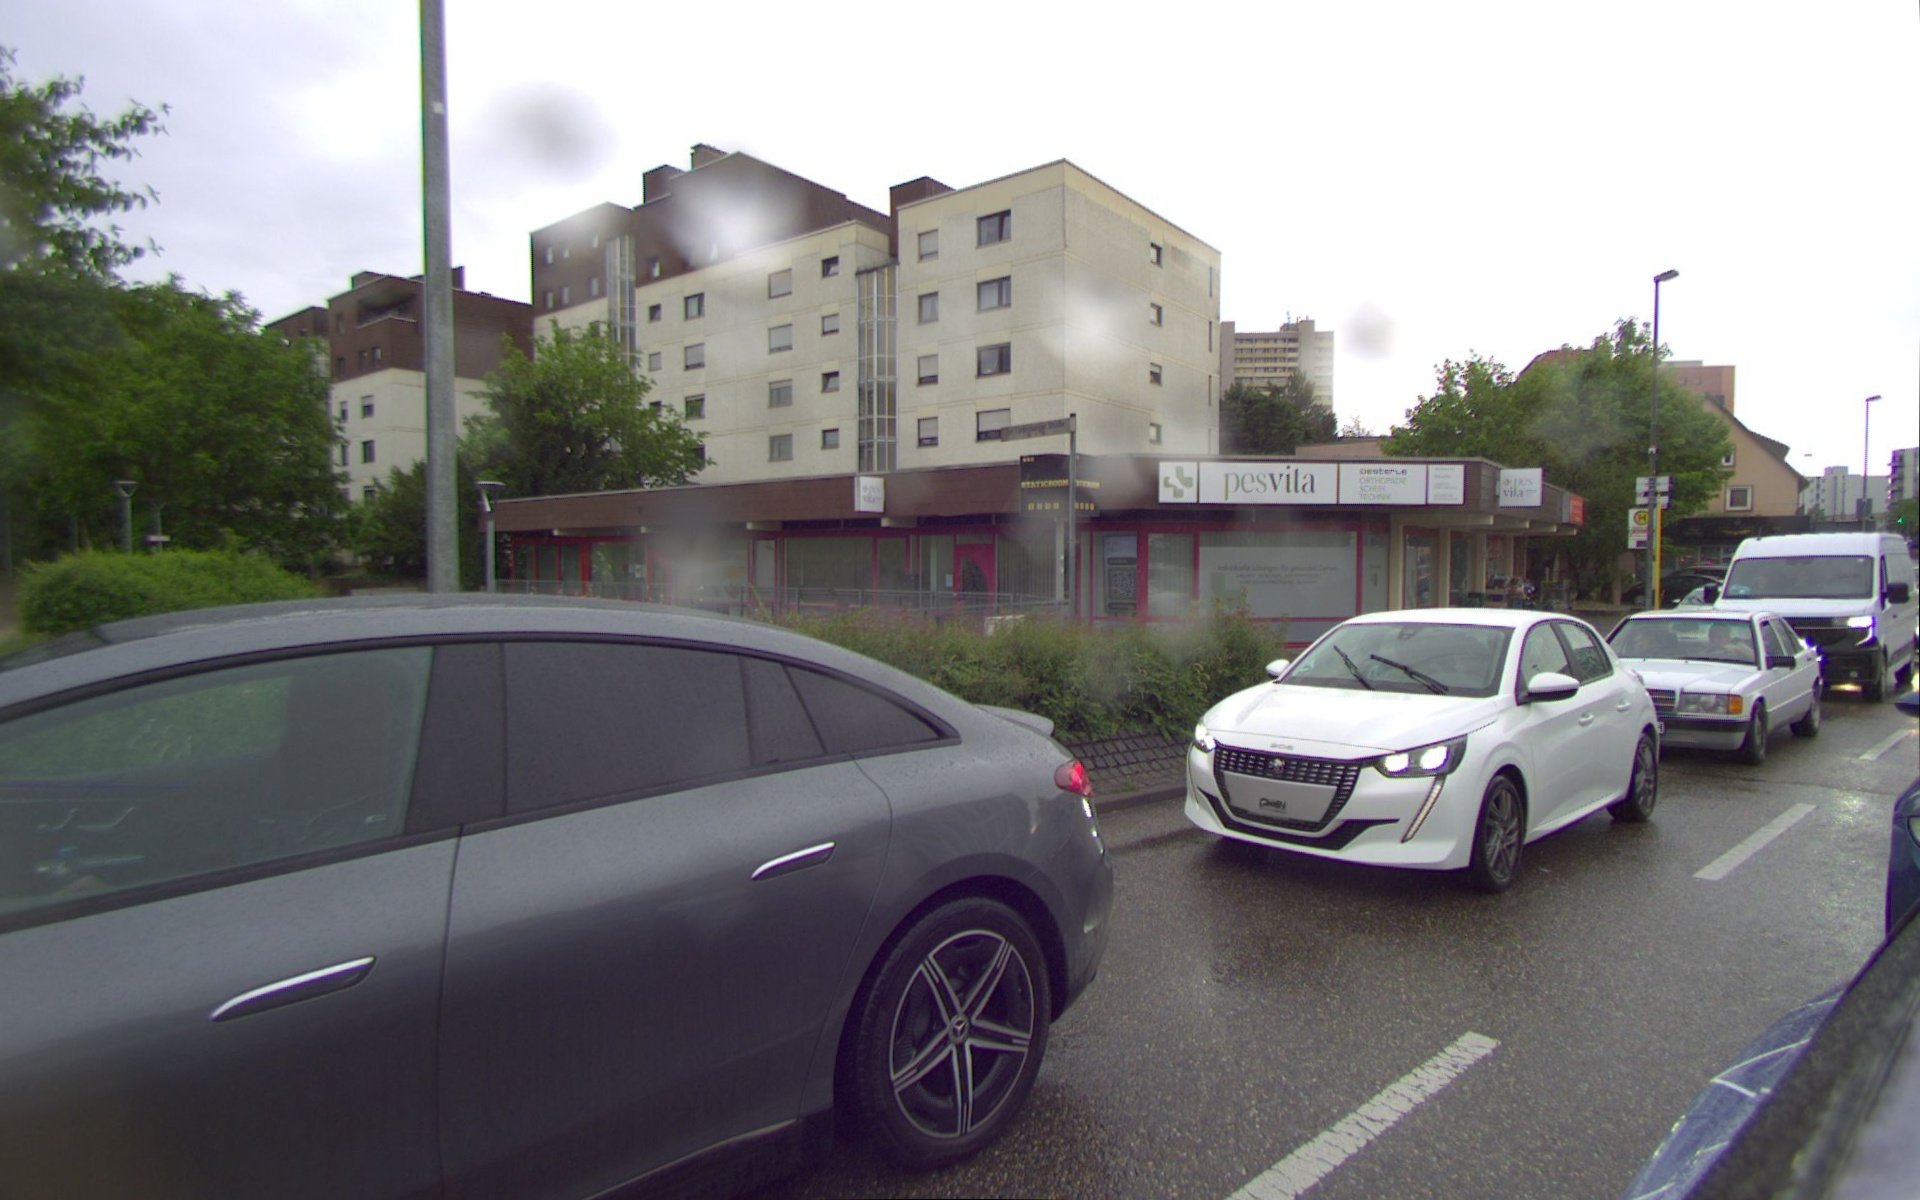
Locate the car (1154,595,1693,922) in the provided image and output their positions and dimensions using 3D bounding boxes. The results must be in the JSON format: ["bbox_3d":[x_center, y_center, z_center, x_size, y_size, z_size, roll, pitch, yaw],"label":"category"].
[{"bbox_3d":[3.180,0.709,6.541,4.043,1.433,1.665,-1,1,-41],"label":"car"}]

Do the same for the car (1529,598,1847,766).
[{"bbox_3d":[7.679,0.686,10.536,4.089,1.362,1.787,-1,1,-41],"label":"car"}]

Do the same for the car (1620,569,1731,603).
[{"bbox_3d":[32.043,-0.643,45.374,3.981,1.445,1.858,2,2,39],"label":"car"}]

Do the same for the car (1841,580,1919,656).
[{"bbox_3d":[21.096,0.338,22.444,3.930,1.558,1.802,-1,2,-41],"label":"car"}]

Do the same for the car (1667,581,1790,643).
[{"bbox_3d":[20.258,0.258,26.628,3.930,1.509,1.787,-1,1,-41],"label":"car"}]

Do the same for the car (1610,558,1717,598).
[{"bbox_3d":[33.032,-1.033,47.560,3.981,1.801,1.858,2,2,39],"label":"car"}]

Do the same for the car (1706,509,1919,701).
[{"bbox_3d":[14.007,-0.011,16.298,6.021,2.549,2.194,-2,2,-43],"label":"car"}]

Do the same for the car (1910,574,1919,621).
[{"bbox_3d":[34.767,-0.117,35.403,3.933,1.588,1.996,-2,1,-43],"label":"car"}]

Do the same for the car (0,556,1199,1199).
[{"bbox_3d":[-1.583,0.687,2.456,4.724,1.485,1.840,0,-1,-41],"label":"car"}]

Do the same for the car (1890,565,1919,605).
[{"bbox_3d":[50.161,-0.795,52.763,3.930,2.038,1.998,-1,3,-40],"label":"car"}]

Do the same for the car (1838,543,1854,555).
[{"bbox_3d":[139.514,-8.034,159.408,1.657,1.654,3.754,1,1,37],"label":"car"}]

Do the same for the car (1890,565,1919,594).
[{"bbox_3d":[62.523,-1.319,66.274,3.930,1.776,1.879,0,3,-41],"label":"car"}]

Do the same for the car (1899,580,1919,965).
[{"bbox_3d":[5.469,0.618,4.454,3.933,1.406,1.690,-1,1,-43],"label":"car"}]
